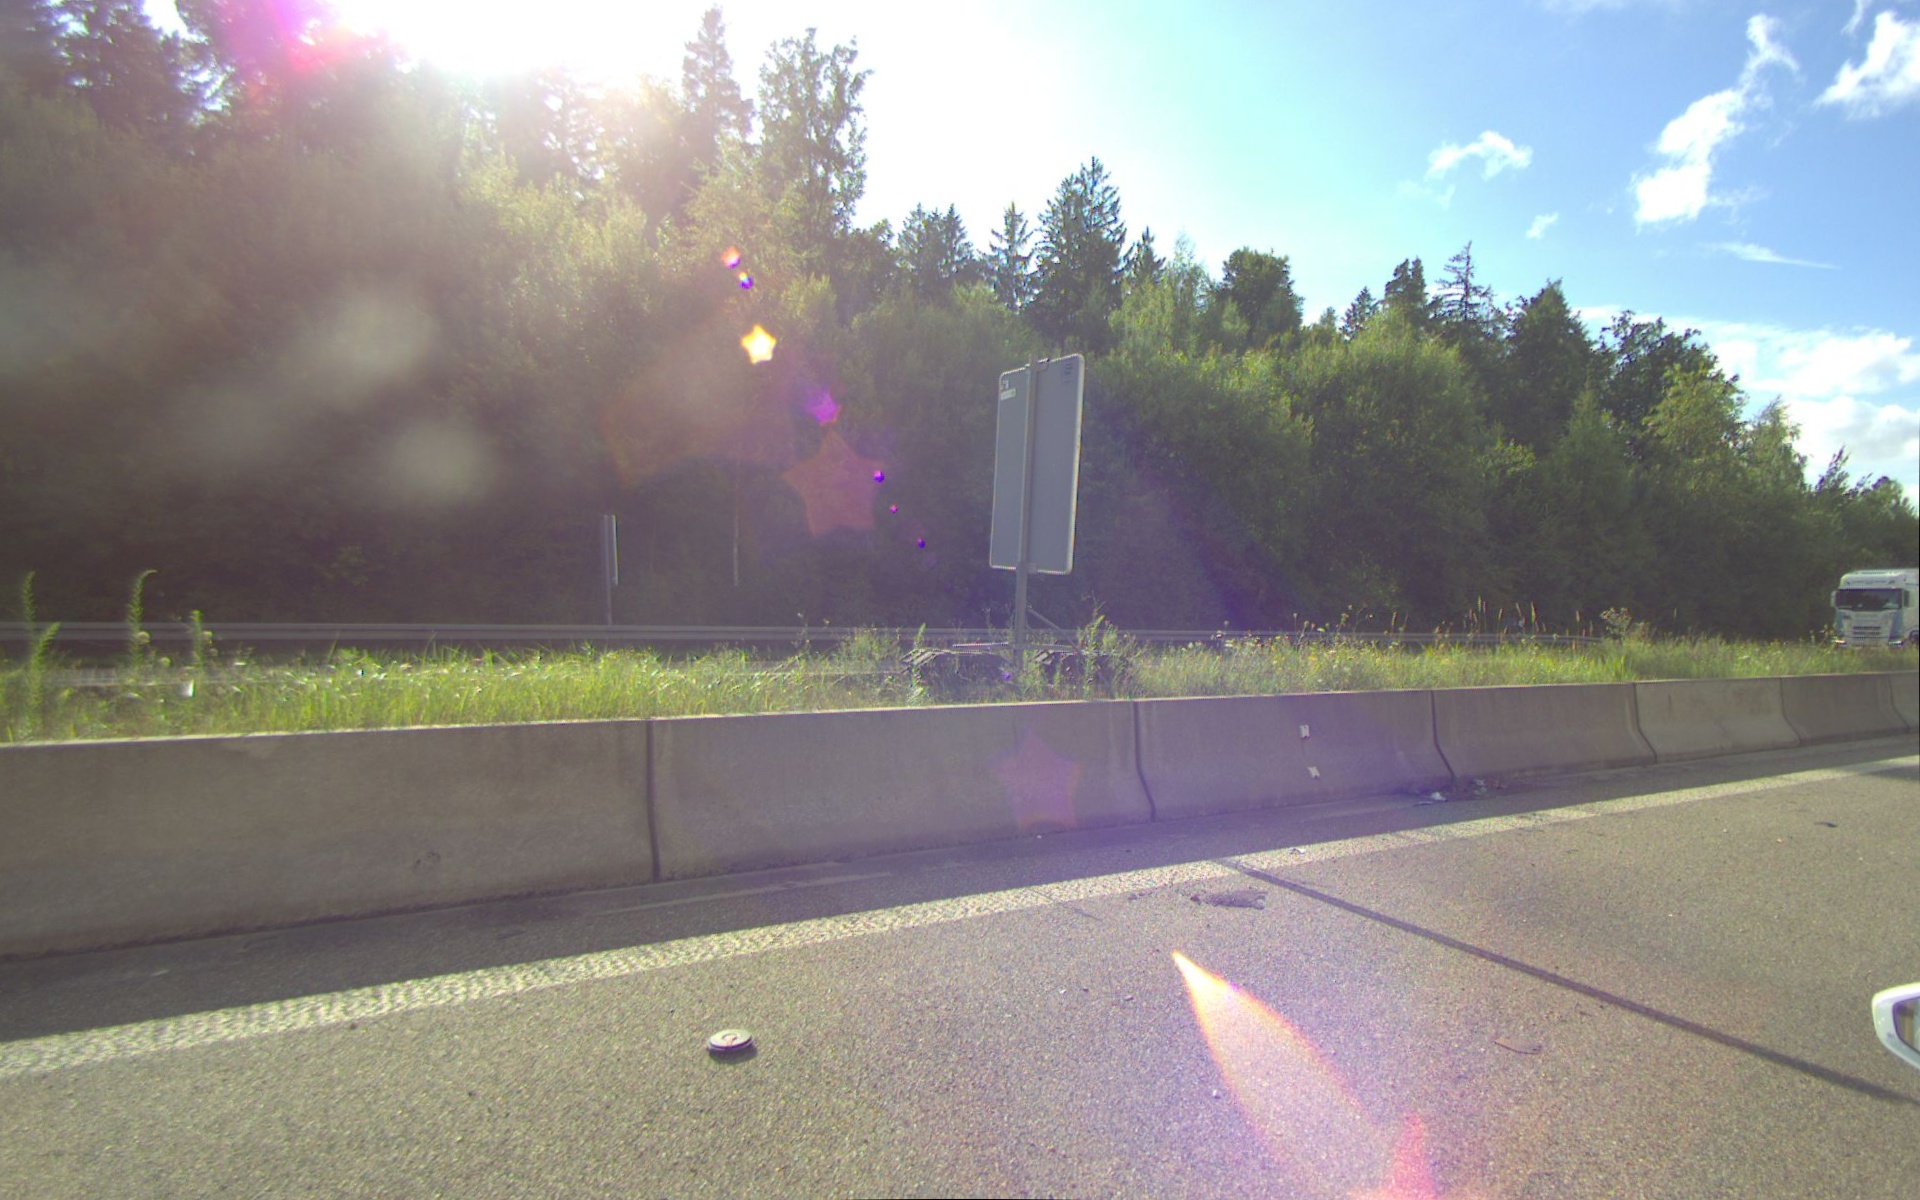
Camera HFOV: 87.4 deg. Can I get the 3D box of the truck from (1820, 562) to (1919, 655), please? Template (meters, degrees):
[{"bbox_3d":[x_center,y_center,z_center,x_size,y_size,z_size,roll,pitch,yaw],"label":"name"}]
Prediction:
[{"bbox_3d":[44.673,0.497,47.447,10.736,4.038,2.768,2,0,-31],"label":"truck"}]

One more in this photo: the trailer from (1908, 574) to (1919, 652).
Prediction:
[{"bbox_3d":[52.913,0.796,52.388,8.390,3.975,2.777,2,0,-31],"label":"trailer"}]
